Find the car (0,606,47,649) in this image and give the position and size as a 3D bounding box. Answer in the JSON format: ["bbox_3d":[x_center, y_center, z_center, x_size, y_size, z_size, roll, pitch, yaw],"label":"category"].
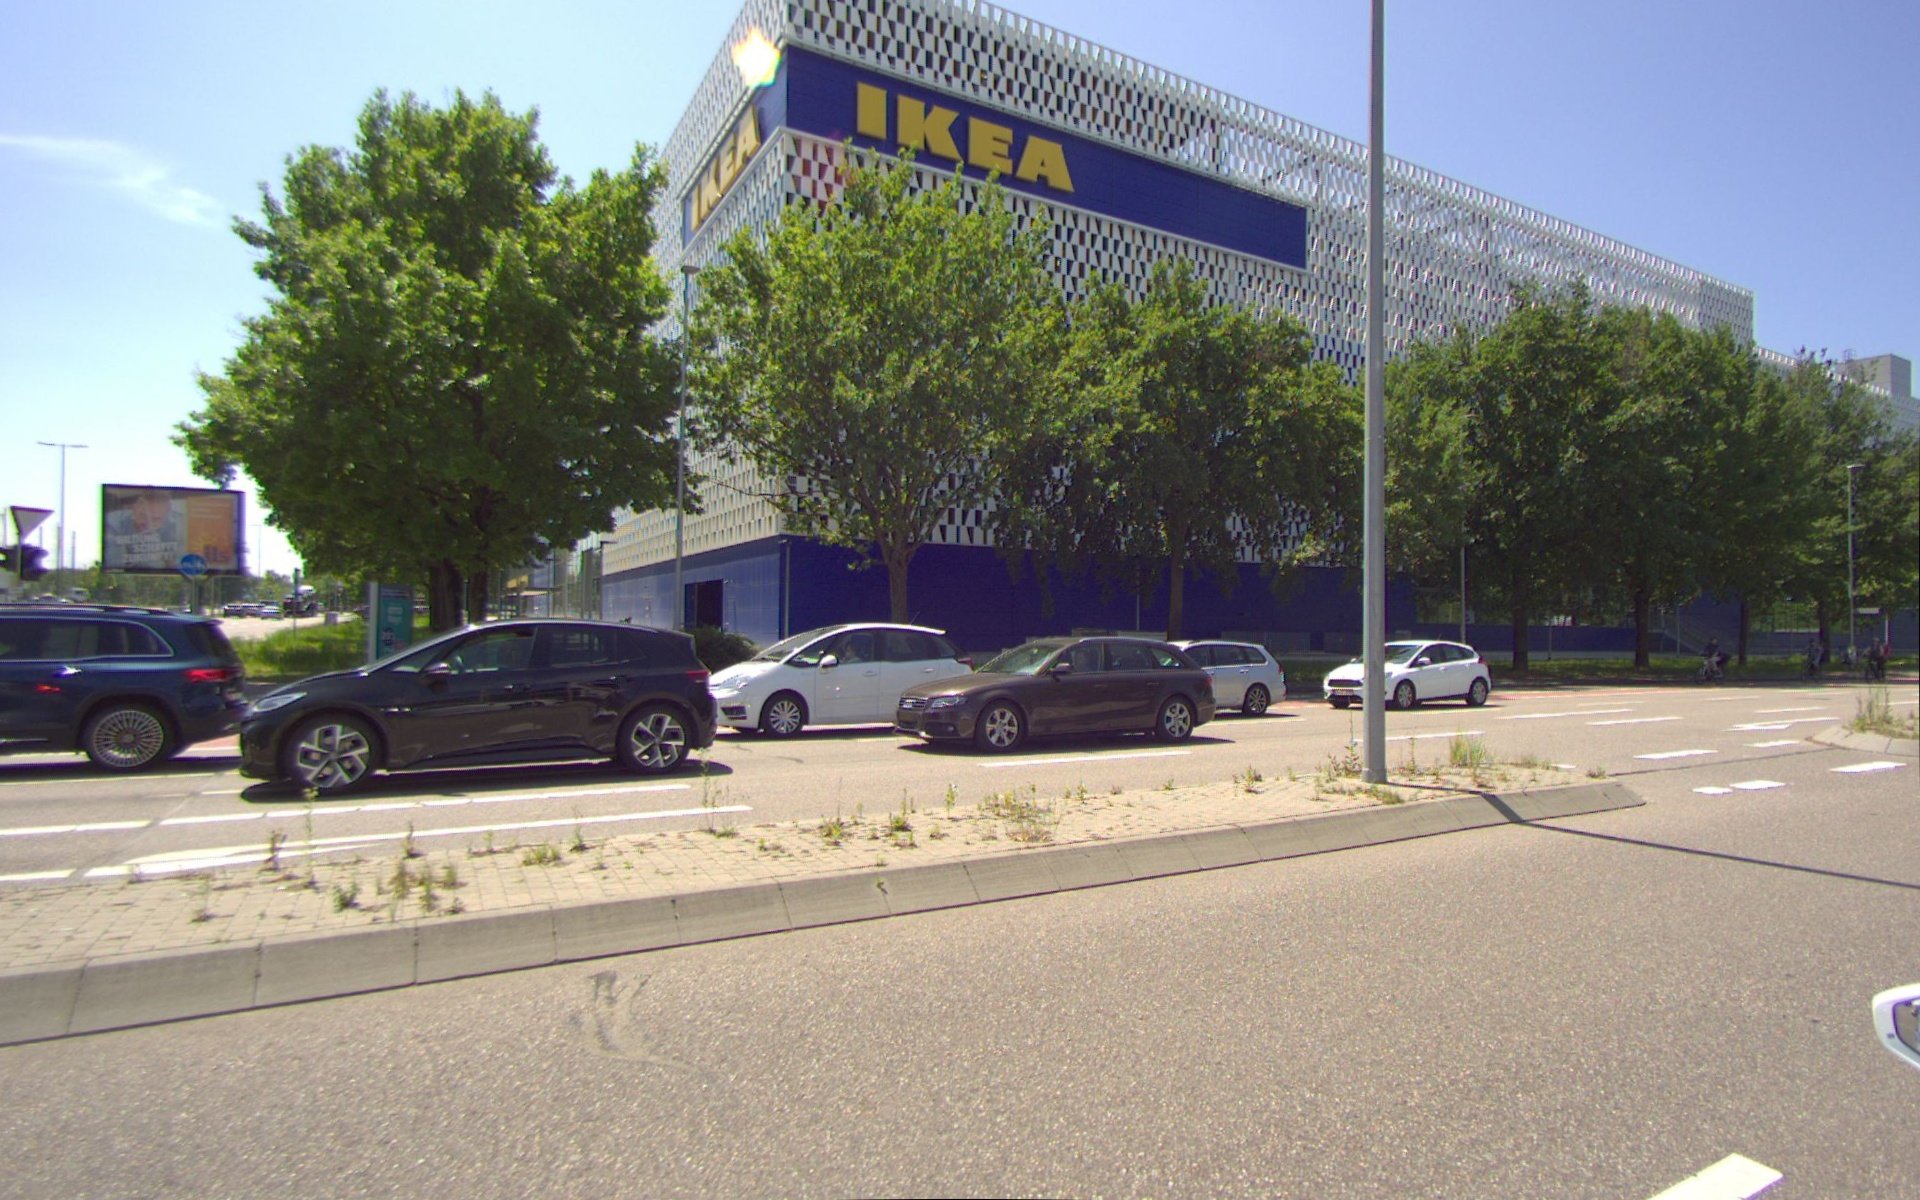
[{"bbox_3d":[-42.138,1.248,44.121,1.780,1.459,4.528,-4,-3,-27],"label":"car"}]

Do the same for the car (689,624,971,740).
[{"bbox_3d":[-1.935,1.192,15.227,3.870,1.564,1.718,2,-2,-30],"label":"car"}]

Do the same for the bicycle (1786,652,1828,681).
[{"bbox_3d":[35.225,2.750,41.765,1.946,1.148,0.635,2,-1,-28],"label":"bicycle"}]

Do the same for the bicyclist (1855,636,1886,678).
[{"bbox_3d":[36.976,2.310,40.806,1.032,1.650,0.631,2,-3,-31],"label":"bicyclist"}]

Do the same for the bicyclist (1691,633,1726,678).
[{"bbox_3d":[29.171,2.160,39.145,0.940,1.708,0.742,1,-1,-27],"label":"bicyclist"}]

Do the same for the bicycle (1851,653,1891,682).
[{"bbox_3d":[37.018,2.736,40.809,2.093,1.174,0.626,2,-3,-31],"label":"bicycle"}]

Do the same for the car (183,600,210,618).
[{"bbox_3d":[-89.122,1.102,117.300,1.794,2.040,3.971,1,-1,-28],"label":"car"}]

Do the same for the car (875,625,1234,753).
[{"bbox_3d":[1.335,1.135,13.425,4.663,1.464,1.719,2,-4,-30],"label":"car"}]

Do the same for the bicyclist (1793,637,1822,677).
[{"bbox_3d":[35.259,2.364,41.793,0.873,1.603,0.634,1,-1,-27],"label":"bicyclist"}]

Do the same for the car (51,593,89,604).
[{"bbox_3d":[-128.470,-0.193,145.051,3.974,1.441,1.679,2,-2,-39],"label":"car"}]

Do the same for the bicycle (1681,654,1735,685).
[{"bbox_3d":[29.145,2.693,39.125,2.403,1.140,0.736,1,-1,-27],"label":"bicycle"}]

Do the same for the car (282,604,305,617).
[{"bbox_3d":[-83.051,1.333,125.202,1.976,1.572,3.970,1,-1,-29],"label":"car"}]

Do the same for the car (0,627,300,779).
[{"bbox_3d":[-9.345,1.018,10.445,3.991,1.442,1.653,2,-2,-30],"label":"car"}]

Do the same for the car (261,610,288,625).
[{"bbox_3d":[-76.025,1.938,111.461,1.975,1.572,3.972,1,-1,-27],"label":"car"}]

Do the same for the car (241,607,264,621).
[{"bbox_3d":[-83.050,1.615,117.999,1.623,1.572,3.399,1,-1,-26],"label":"car"}]

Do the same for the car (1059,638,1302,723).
[{"bbox_3d":[4.212,1.450,18.988,4.570,1.441,1.738,1,-3,-31],"label":"car"}]

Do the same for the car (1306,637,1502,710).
[{"bbox_3d":[9.836,1.601,22.178,4.400,1.464,1.718,2,-4,-31],"label":"car"}]

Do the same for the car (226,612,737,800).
[{"bbox_3d":[-4.521,0.965,9.955,4.193,1.525,1.719,2,-3,-30],"label":"car"}]

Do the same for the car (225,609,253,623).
[{"bbox_3d":[-80.539,1.794,112.291,1.900,1.572,3.584,1,-1,-26],"label":"car"}]

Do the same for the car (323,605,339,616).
[{"bbox_3d":[-90.852,1.497,145.169,1.533,1.572,3.399,1,-1,-26],"label":"car"}]
